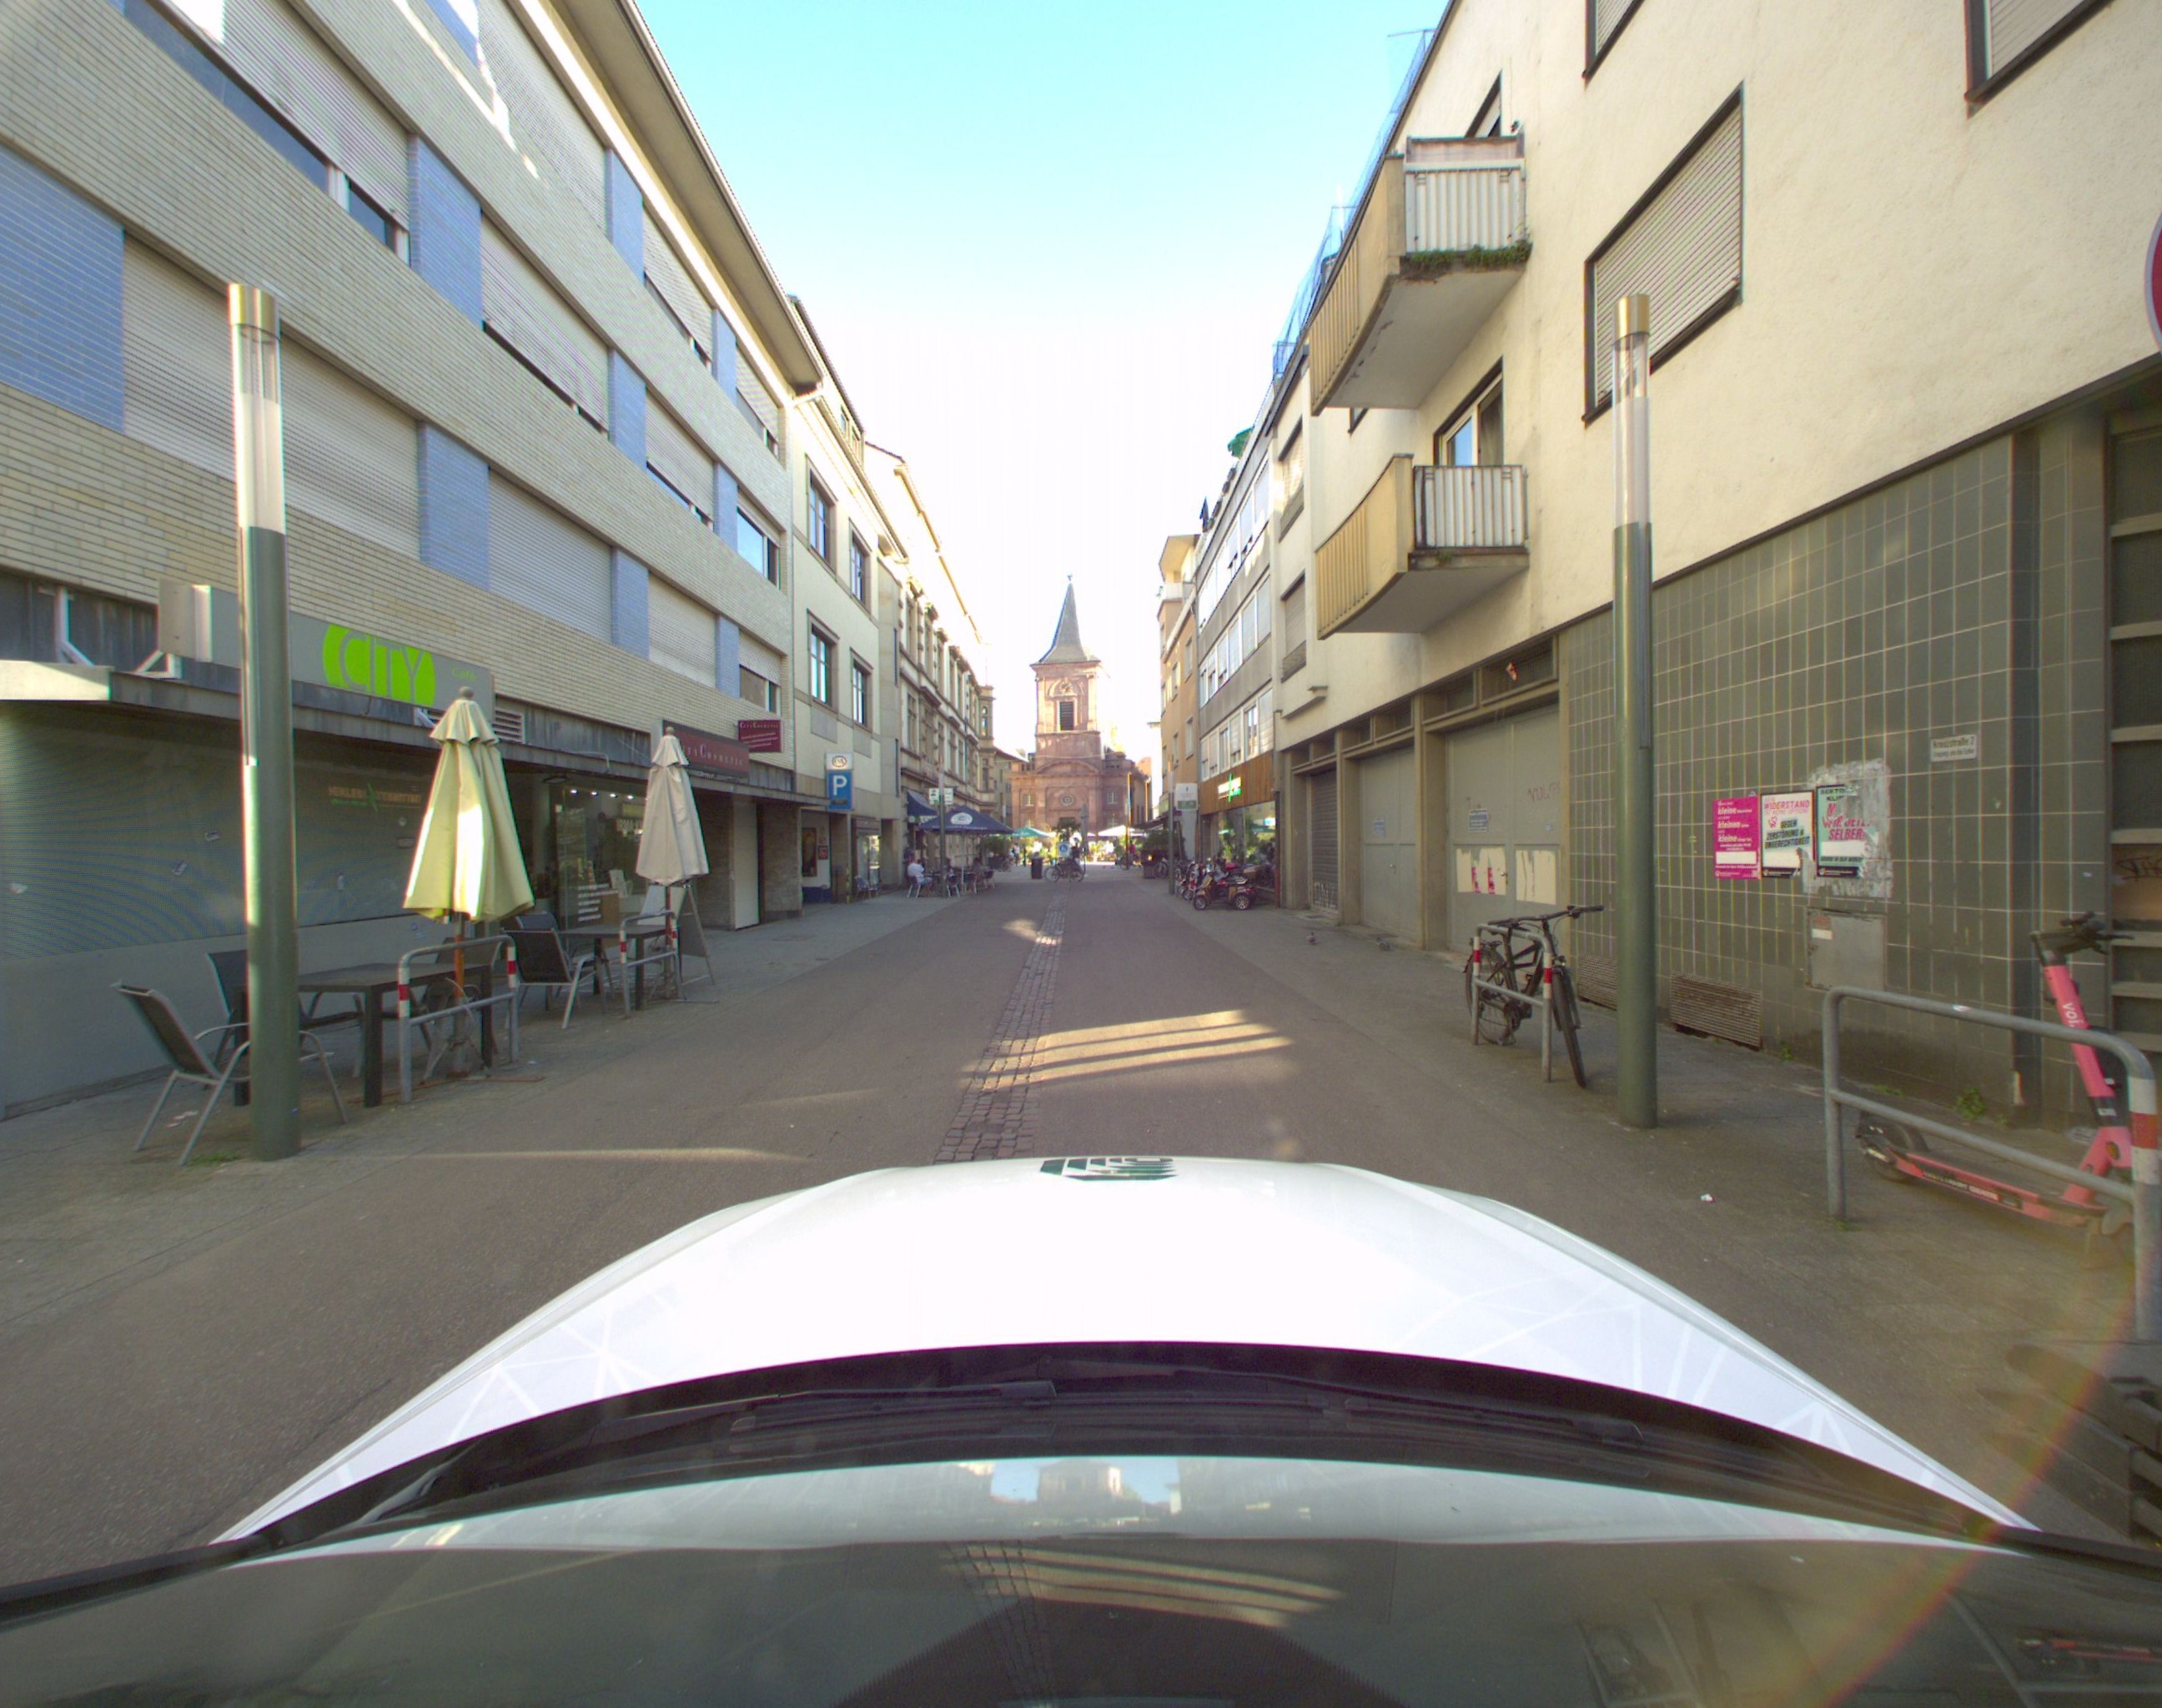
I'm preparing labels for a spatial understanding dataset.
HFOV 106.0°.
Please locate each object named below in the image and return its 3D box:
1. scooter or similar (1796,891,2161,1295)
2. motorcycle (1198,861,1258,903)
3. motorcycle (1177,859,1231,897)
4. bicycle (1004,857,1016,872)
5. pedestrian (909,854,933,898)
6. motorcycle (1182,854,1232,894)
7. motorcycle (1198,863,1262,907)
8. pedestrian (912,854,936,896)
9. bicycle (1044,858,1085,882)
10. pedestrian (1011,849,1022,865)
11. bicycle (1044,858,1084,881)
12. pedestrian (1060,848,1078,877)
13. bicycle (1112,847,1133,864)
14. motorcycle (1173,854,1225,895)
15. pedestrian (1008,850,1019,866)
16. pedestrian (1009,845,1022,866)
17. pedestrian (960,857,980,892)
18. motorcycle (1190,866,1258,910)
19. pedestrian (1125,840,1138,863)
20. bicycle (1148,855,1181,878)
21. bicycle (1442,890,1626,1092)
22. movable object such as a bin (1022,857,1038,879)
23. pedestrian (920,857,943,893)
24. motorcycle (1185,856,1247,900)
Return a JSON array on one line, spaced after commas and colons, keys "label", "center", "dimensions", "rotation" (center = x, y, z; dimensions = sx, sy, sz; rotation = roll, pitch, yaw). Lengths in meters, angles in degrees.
[{"label": "scooter or similar", "center": [3.619, 0.805, 3.283], "dimensions": [0.306, 1.252, 1.237], "rotation": [-1, 0, -4]}, {"label": "motorcycle", "center": [3.859, 0.744, 21.405], "dimensions": [1.472, 1.075, 0.414], "rotation": [-1, 0, 17]}, {"label": "motorcycle", "center": [3.529, 0.688, 23.375], "dimensions": [1.472, 1.075, 0.414], "rotation": [-1, 0, 17]}, {"label": "bicycle", "center": [-4.257, 0.593, 48.939], "dimensions": [0.455, 0.850, 2.148], "rotation": [-1, 0, 3]}, {"label": "pedestrian", "center": [-5.141, 0.695, 26.167], "dimensions": [0.708, 1.368, 0.717], "rotation": [-1, 0, -13]}, {"label": "motorcycle", "center": [3.934, 0.622, 25.391], "dimensions": [1.473, 1.181, 0.414], "rotation": [-1, 0, 14]}, {"label": "motorcycle", "center": [3.735, 0.770, 20.446], "dimensions": [1.504, 1.075, 0.414], "rotation": [-1, 0, 17]}, {"label": "pedestrian", "center": [-5.245, 0.697, 27.183], "dimensions": [0.718, 1.368, 0.707], "rotation": [-1, 0, -13]}, {"label": "bicycle", "center": [-0.732, 0.714, 36.619], "dimensions": [1.820, 1.005, 0.381], "rotation": [-1, 0, -4]}, {"label": "pedestrian", "center": [-5.105, 0.221, 64.338], "dimensions": [0.697, 1.218, 0.720], "rotation": [-1, 0, 5]}, {"label": "bicycle", "center": [-0.781, 0.706, 37.021], "dimensions": [1.820, 1.005, 0.381], "rotation": [-1, 0, -4]}, {"label": "pedestrian", "center": [-0.613, 0.418, 41.100], "dimensions": [0.881, 1.464, 0.731], "rotation": [-1, 0, 0]}, {"label": "bicycle", "center": [3.187, 0.103, 62.394], "dimensions": [1.596, 1.308, 0.362], "rotation": [-1, 0, -30]}, {"label": "motorcycle", "center": [3.530, 0.613, 24.381], "dimensions": [1.473, 1.181, 0.414], "rotation": [-1, 0, 14]}, {"label": "pedestrian", "center": [-5.198, 0.296, 62.906], "dimensions": [0.697, 1.218, 0.720], "rotation": [-1, 0, 5]}, {"label": "pedestrian", "center": [-4.708, 0.105, 58.405], "dimensions": [0.777, 1.555, 0.538], "rotation": [-1, 0, 20]}, {"label": "pedestrian", "center": [-4.060, 0.742, 29.655], "dimensions": [0.692, 1.215, 0.581], "rotation": [-1, 0, -9]}, {"label": "motorcycle", "center": [3.455, 0.823, 19.688], "dimensions": [1.552, 1.041, 0.374], "rotation": [-1, 0, 17]}, {"label": "pedestrian", "center": [3.663, -0.150, 58.850], "dimensions": [0.616, 1.641, 0.650], "rotation": [-1, 0, -40]}, {"label": "bicycle", "center": [3.732, 0.559, 36.266], "dimensions": [1.456, 1.005, 0.574], "rotation": [-1, 0, 6]}, {"label": "bicycle", "center": [3.076, 0.852, 5.707], "dimensions": [0.444, 1.140, 1.712], "rotation": [0, -1, 5]}, {"label": "movable object such as a bin", "center": [-2.490, 0.685, 39.777], "dimensions": [0.719, 1.074, 0.374], "rotation": [-1, 0, -3]}, {"label": "pedestrian", "center": [-5.282, 0.732, 28.868], "dimensions": [0.764, 1.233, 0.829], "rotation": [-1, 0, -9]}, {"label": "motorcycle", "center": [3.759, 0.670, 22.664], "dimensions": [1.612, 1.175, 0.483], "rotation": [-1, 0, 17]}]
